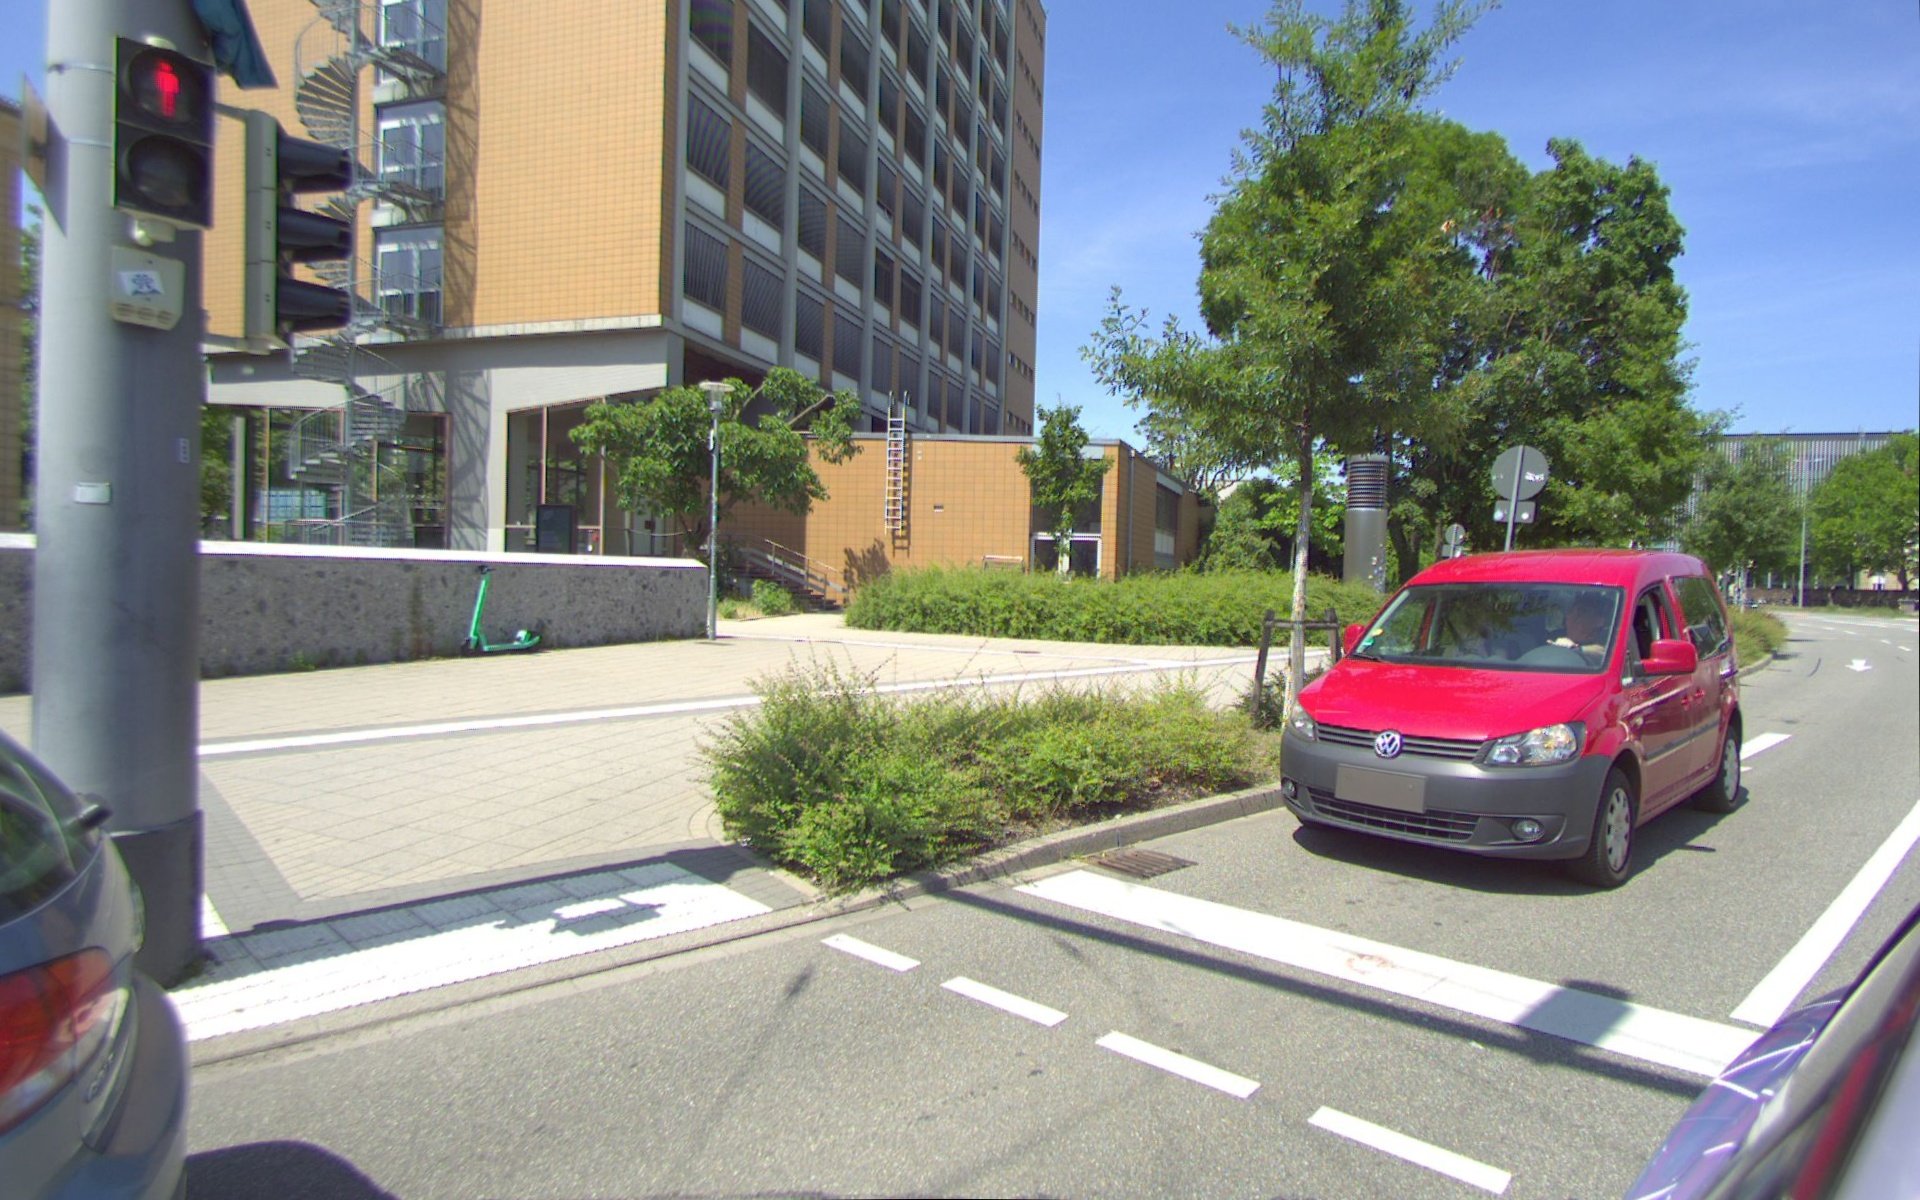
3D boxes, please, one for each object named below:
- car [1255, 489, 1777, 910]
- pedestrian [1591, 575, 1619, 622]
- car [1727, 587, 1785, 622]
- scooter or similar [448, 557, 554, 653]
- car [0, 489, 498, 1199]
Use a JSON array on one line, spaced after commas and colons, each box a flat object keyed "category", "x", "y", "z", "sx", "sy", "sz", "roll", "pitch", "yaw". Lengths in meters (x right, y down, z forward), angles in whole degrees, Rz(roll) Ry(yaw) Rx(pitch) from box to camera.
[{"category": "car", "x": 3.883, "y": 0.425, "z": 6.645, "sx": 4.468, "sy": 1.882, "sz": 1.653, "roll": 0, "pitch": 1, "yaw": -42}, {"category": "pedestrian", "x": 25.149, "y": -0.074, "z": 39.473, "sx": 0.603, "sy": 1.820, "sz": 0.728, "roll": 0, "pitch": 1, "yaw": -41}, {"category": "car", "x": 49.547, "y": 0.235, "z": 63.076, "sx": 1.980, "sy": 2.038, "sz": 3.964, "roll": 2, "pitch": 1, "yaw": 26}, {"category": "scooter or similar", "x": -5.980, "y": 0.050, "z": 13.243, "sx": 0.455, "sy": 1.185, "sz": 1.238, "roll": 2, "pitch": 1, "yaw": 28}, {"category": "car", "x": -2.696, "y": 0.608, "z": 0.826, "sx": 3.933, "sy": 1.477, "sz": 1.654, "roll": 0, "pitch": 0, "yaw": -40}]
